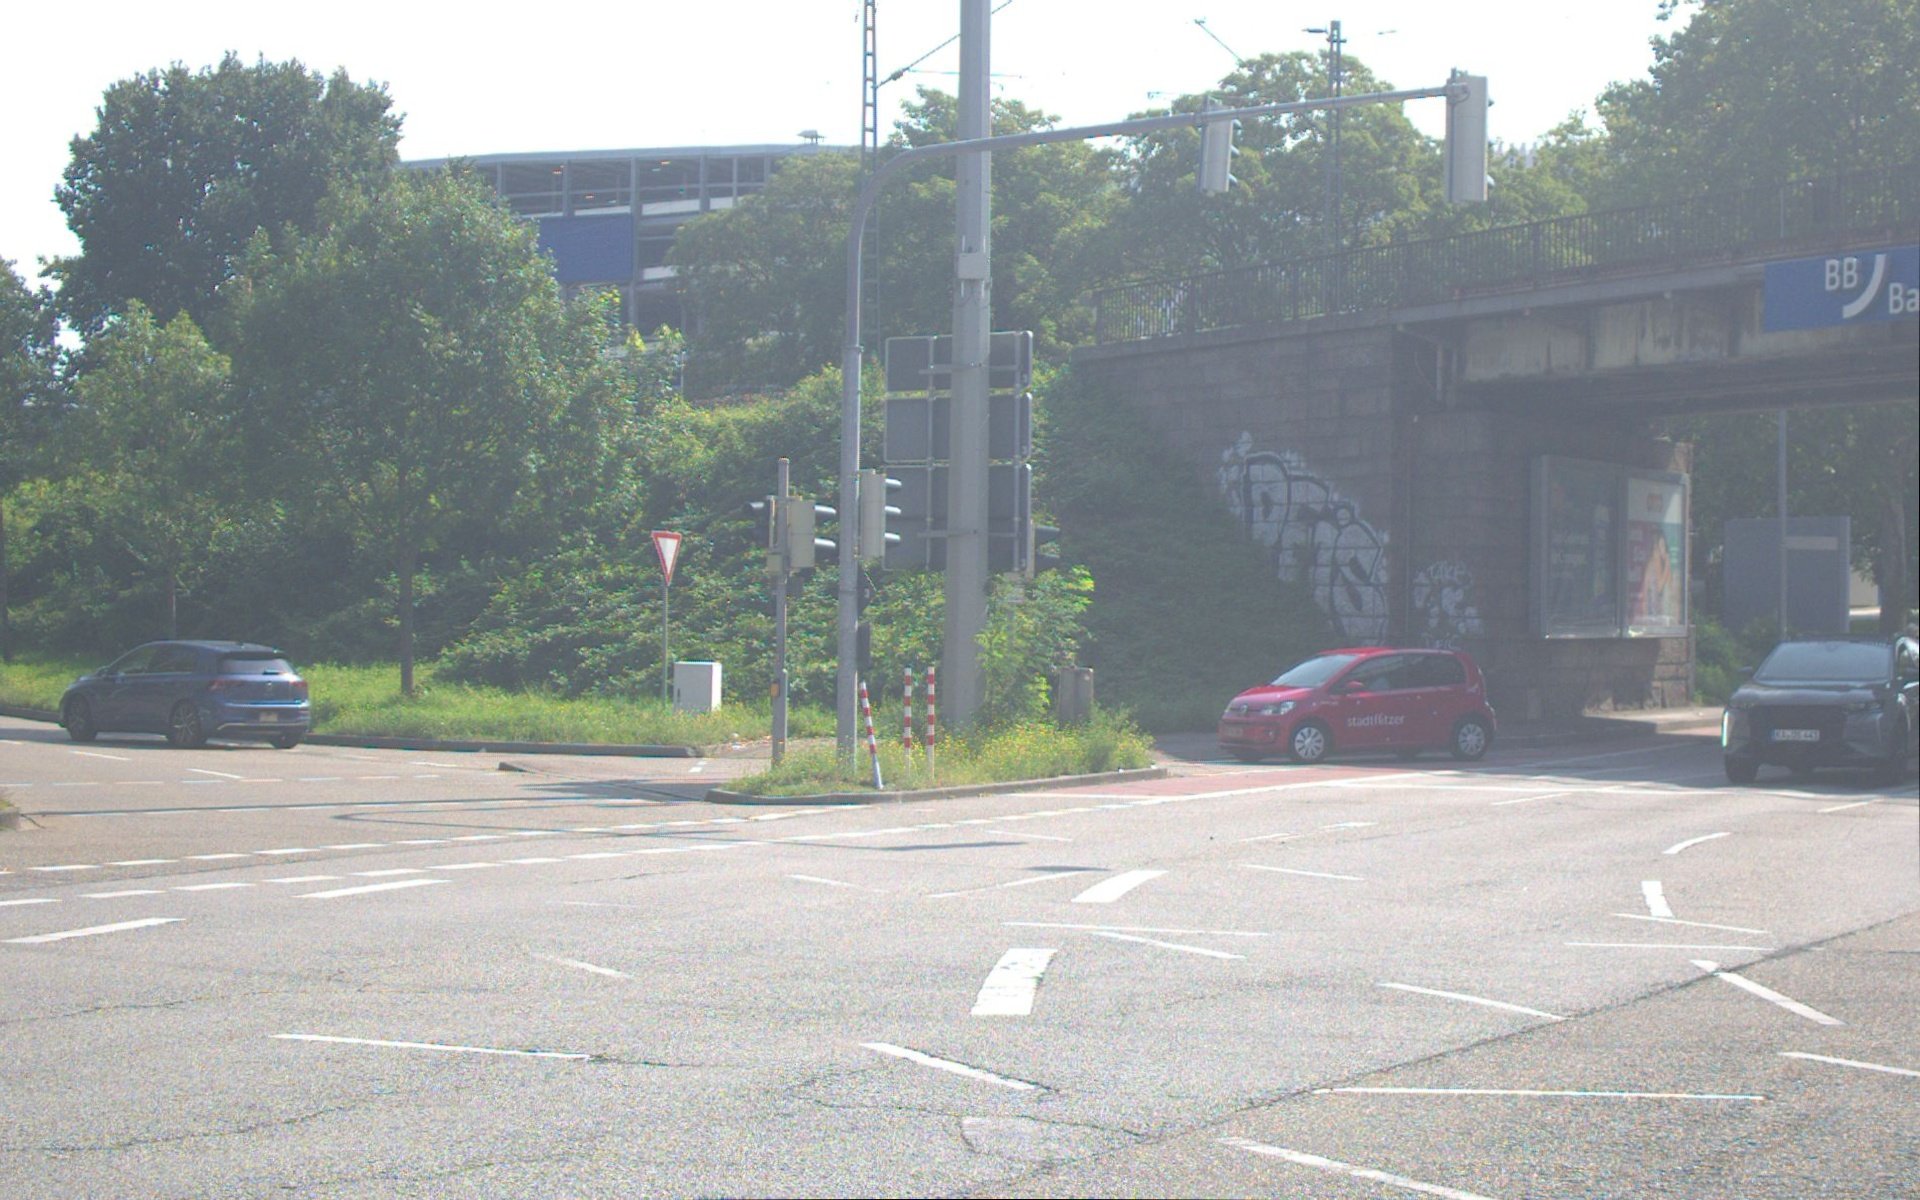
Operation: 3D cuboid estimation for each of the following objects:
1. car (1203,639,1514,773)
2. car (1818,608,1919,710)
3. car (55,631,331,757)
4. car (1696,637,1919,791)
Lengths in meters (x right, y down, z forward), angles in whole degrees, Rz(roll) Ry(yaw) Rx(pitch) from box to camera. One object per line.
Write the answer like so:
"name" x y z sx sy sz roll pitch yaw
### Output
"car" 5.117 1.363 44.186 3.541 1.462 1.644 3 2 -23
"car" 18.415 1.133 67.916 1.996 1.842 3.994 4 1 25
"car" -10.539 1.265 47.076 1.781 1.423 3.998 2 2 -45
"car" 9.845 1.231 38.425 1.905 1.611 4.467 0 -1 30
